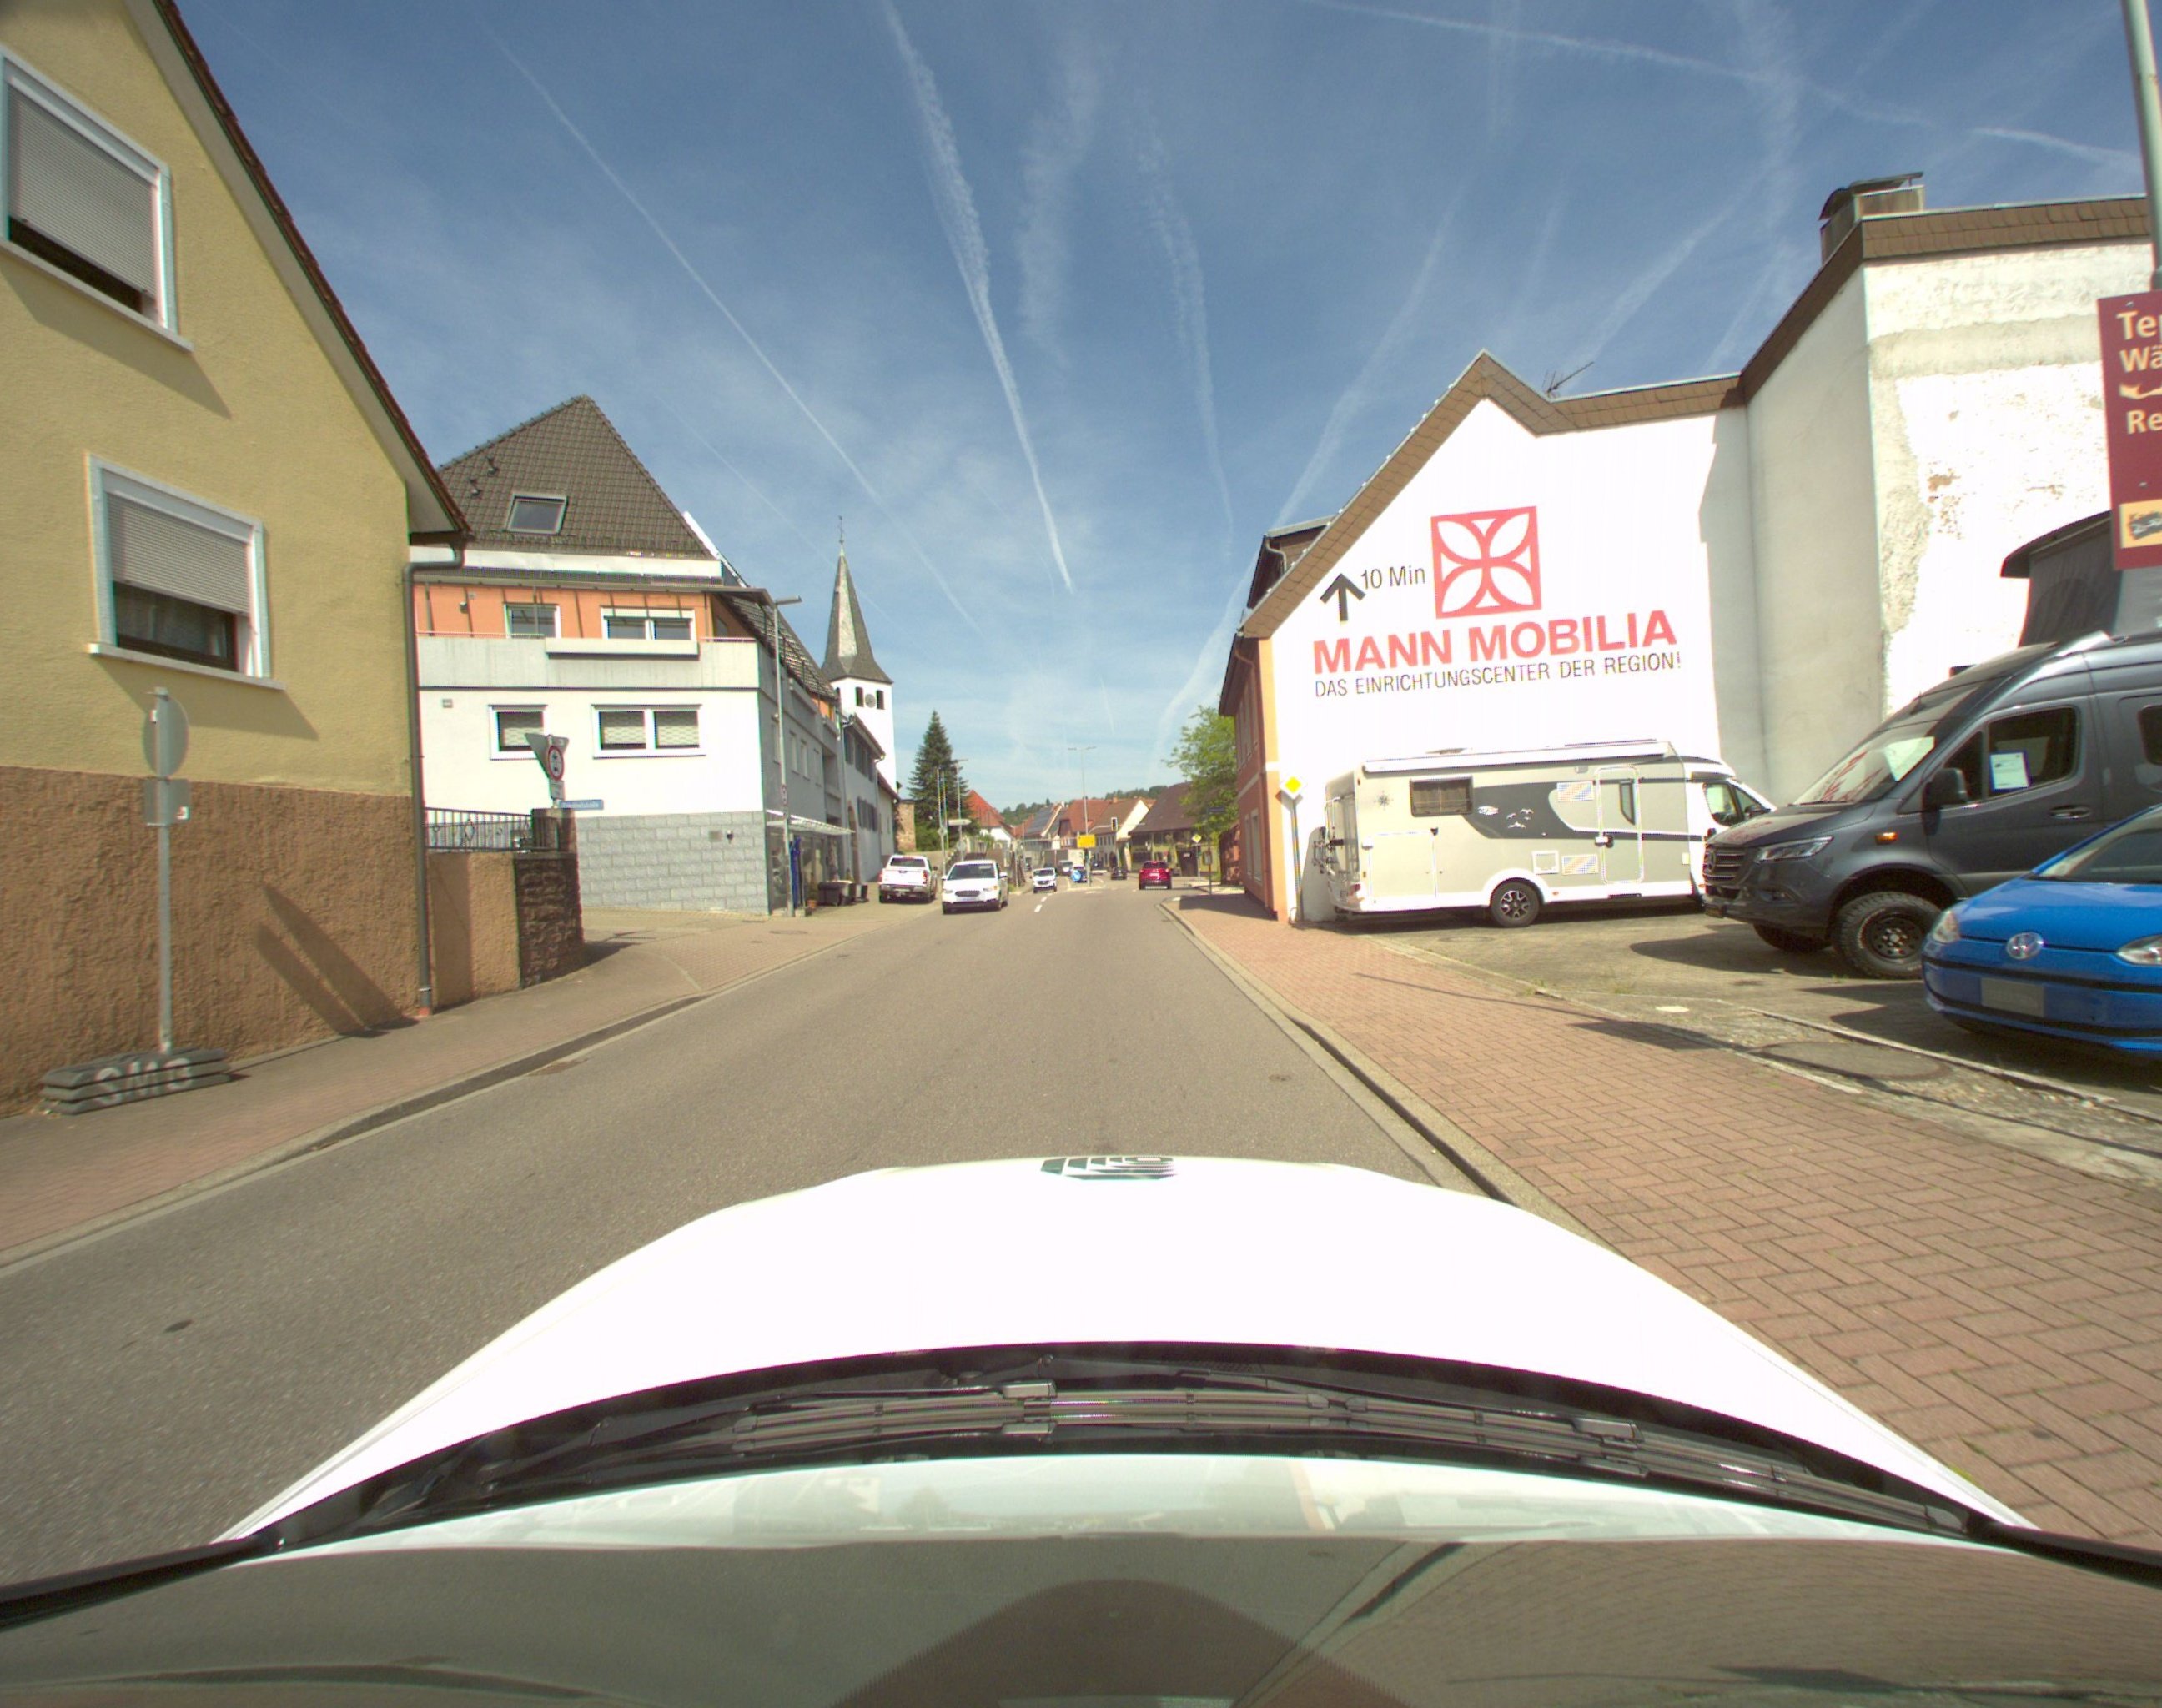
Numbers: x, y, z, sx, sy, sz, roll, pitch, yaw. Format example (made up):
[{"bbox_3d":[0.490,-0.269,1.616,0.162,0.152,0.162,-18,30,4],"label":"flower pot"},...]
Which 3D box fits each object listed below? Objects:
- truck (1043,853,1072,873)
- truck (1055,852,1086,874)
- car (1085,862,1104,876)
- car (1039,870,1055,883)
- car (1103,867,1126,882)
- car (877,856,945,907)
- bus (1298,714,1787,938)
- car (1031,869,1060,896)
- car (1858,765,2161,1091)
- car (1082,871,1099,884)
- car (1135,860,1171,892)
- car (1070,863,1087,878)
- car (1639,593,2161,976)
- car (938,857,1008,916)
[{"bbox_3d":[-4.376,1.758,147.246,3.164,3.461,10.659,0,-1,-14],"label":"truck"},{"bbox_3d":[-1.931,1.530,137.600,3.228,3.549,9.185,0,-1,-14],"label":"truck"},{"bbox_3d":[1.999,2.247,121.841,1.850,2.014,3.979,0,-1,-15],"label":"car"},{"bbox_3d":[-5.802,3.783,138.035,1.761,2.246,4.529,0,-1,-15],"label":"car"},{"bbox_3d":[4.236,2.603,102.976,1.823,1.739,3.987,-3,0,-13],"label":"car"},{"bbox_3d":[-6.499,0.994,31.721,1.801,1.798,5.279,1,0,-3],"label":"car"},{"bbox_3d":[7.198,-0.380,13.446,6.534,2.905,2.232,-4,-1,5],"label":"bus"},{"bbox_3d":[-2.837,2.291,66.265,1.962,1.933,5.314,-3,-1,1],"label":"car"},{"bbox_3d":[6.973,0.235,4.445,3.783,1.528,1.584,-3,0,3],"label":"car"},{"bbox_3d":[1.183,2.822,97.710,1.813,1.434,4.252,-2,0,3],"label":"car"},{"bbox_3d":[4.235,1.252,47.443,1.794,1.663,3.821,-3,0,8],"label":"car"},{"bbox_3d":[-0.411,2.266,111.208,1.818,1.906,4.954,-3,0,-5],"label":"car"},{"bbox_3d":[8.983,-0.573,7.441,5.908,2.987,2.330,-3,0,21],"label":"car"},{"bbox_3d":[-3.196,0.920,24.727,1.725,1.542,3.807,-3,0,-3],"label":"car"}]
